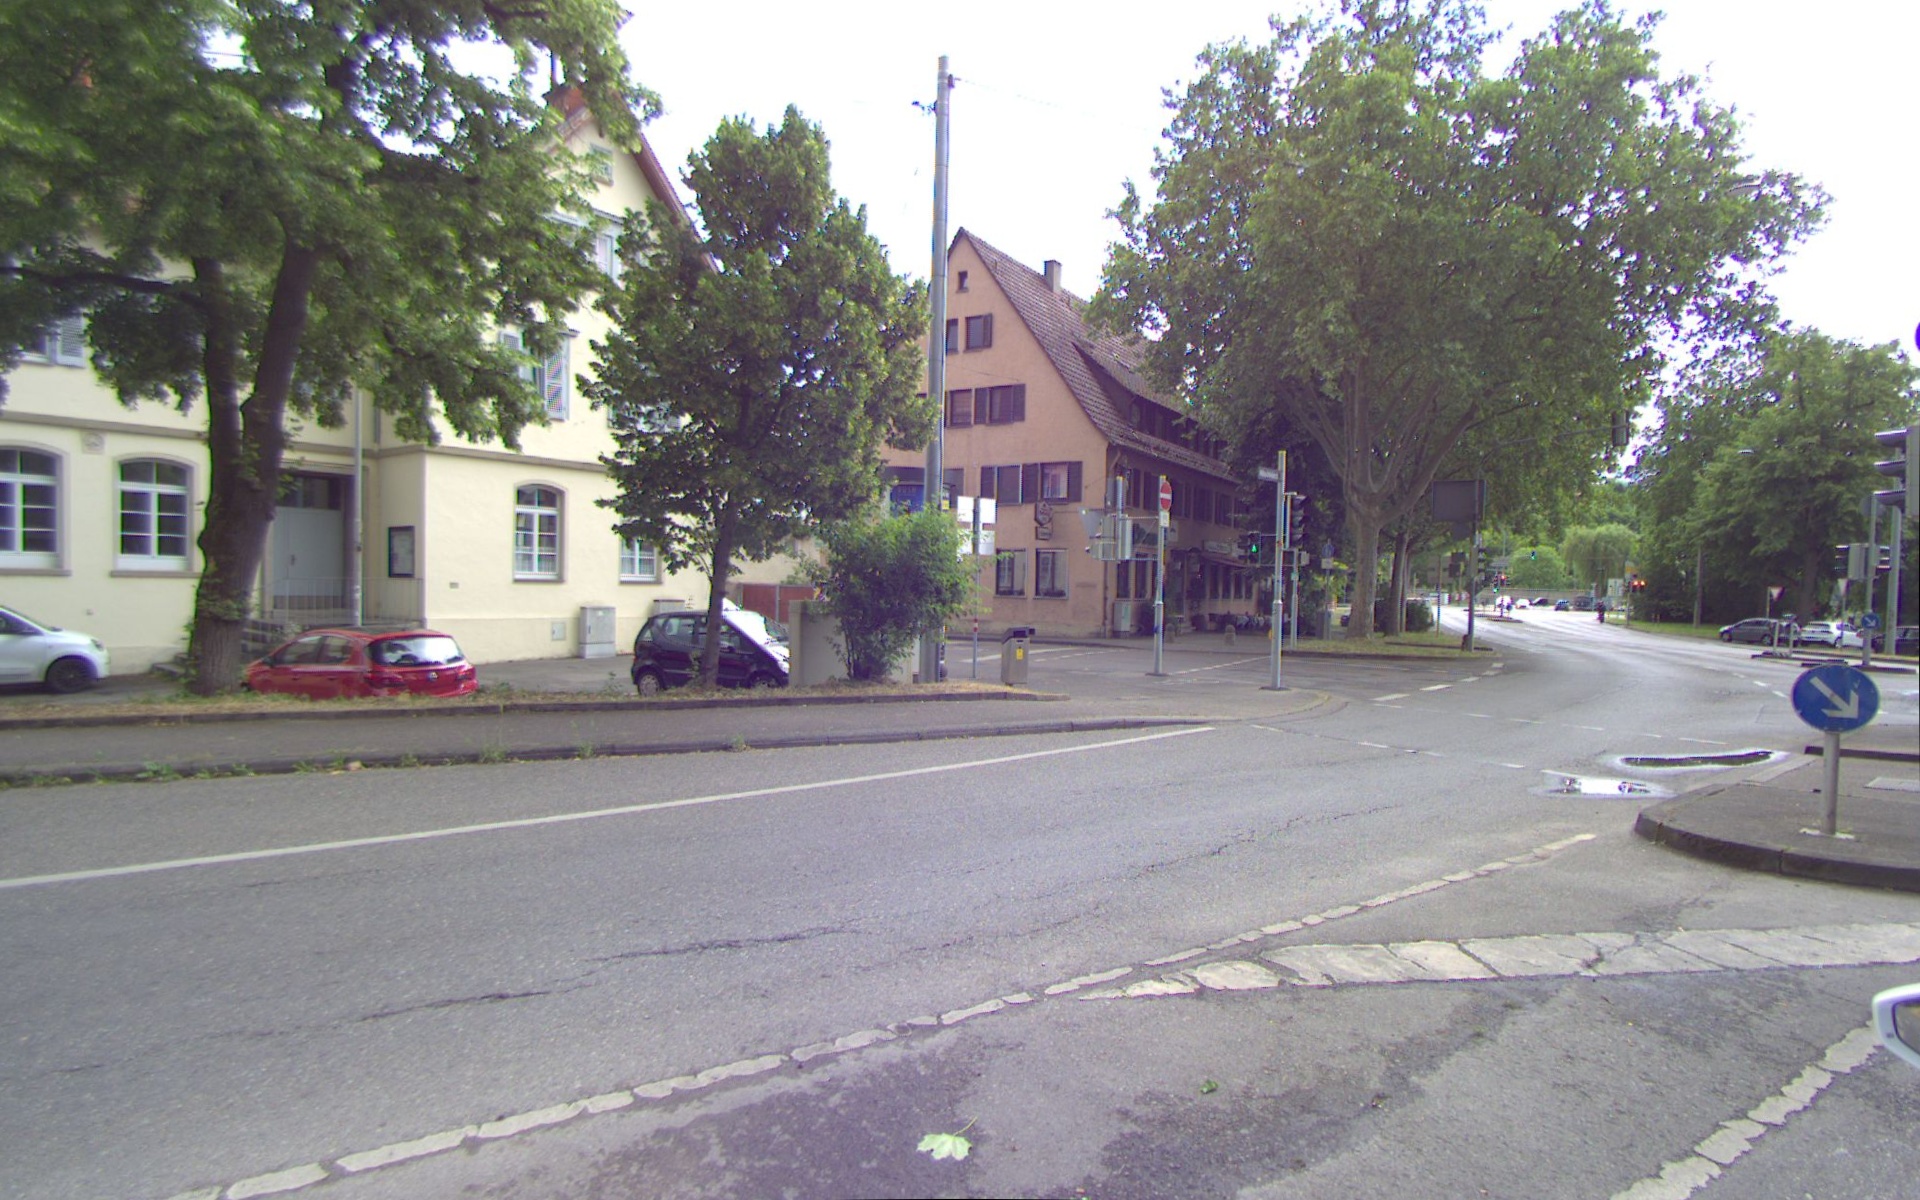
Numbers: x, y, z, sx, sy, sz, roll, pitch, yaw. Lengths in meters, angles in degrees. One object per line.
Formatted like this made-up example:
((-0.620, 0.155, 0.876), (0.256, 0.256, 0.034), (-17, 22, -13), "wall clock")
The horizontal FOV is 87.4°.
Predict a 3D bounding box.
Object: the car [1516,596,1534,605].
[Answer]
((89.304, 0.073, 158.703), (1.469, 1.436, 3.028), (3, 0, 10), "car")

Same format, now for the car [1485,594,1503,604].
((84.981, -0.135, 159.904), (1.553, 1.506, 3.337), (3, 0, 10), "car")

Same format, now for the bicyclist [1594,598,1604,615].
((50.636, 0.510, 79.588), (0.531, 1.360, 0.713), (2, 1, 28), "bicyclist")

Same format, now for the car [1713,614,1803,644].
((44.533, 1.609, 56.178), (1.593, 1.485, 3.777), (1, 0, -12), "car")

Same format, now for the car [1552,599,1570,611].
((90.037, 0.768, 150.432), (1.963, 1.617, 3.995), (2, 0, 27), "car")

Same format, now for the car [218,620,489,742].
((-8.619, 1.054, 14.250), (3.652, 1.401, 1.659), (2, 0, 28), "car")

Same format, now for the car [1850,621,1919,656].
((40.468, 1.652, 42.935), (1.746, 1.370, 3.326), (2, 0, -4), "car")

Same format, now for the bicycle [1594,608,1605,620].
((50.610, 1.105, 79.544), (0.548, 0.971, 2.030), (2, 0, 28), "bicycle")

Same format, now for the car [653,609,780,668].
((-7.676, 1.167, 31.540), (3.936, 1.625, 1.775), (2, -1, 37), "car")

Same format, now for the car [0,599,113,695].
((-16.181, 0.749, 16.340), (1.585, 1.499, 3.423), (2, 0, 38), "car")

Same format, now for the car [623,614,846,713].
((-3.940, 1.036, 17.530), (3.506, 1.459, 1.645), (2, 0, 25), "car")

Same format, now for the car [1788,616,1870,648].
((48.190, 1.765, 55.686), (3.697, 1.662, 1.858), (1, 0, -20), "car")

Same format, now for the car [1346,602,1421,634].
((24.647, 1.015, 58.493), (3.923, 1.706, 1.999), (1, 0, 24), "car")

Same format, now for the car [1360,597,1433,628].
((26.330, 0.760, 60.610), (3.923, 1.706, 1.999), (1, 0, 24), "car")
